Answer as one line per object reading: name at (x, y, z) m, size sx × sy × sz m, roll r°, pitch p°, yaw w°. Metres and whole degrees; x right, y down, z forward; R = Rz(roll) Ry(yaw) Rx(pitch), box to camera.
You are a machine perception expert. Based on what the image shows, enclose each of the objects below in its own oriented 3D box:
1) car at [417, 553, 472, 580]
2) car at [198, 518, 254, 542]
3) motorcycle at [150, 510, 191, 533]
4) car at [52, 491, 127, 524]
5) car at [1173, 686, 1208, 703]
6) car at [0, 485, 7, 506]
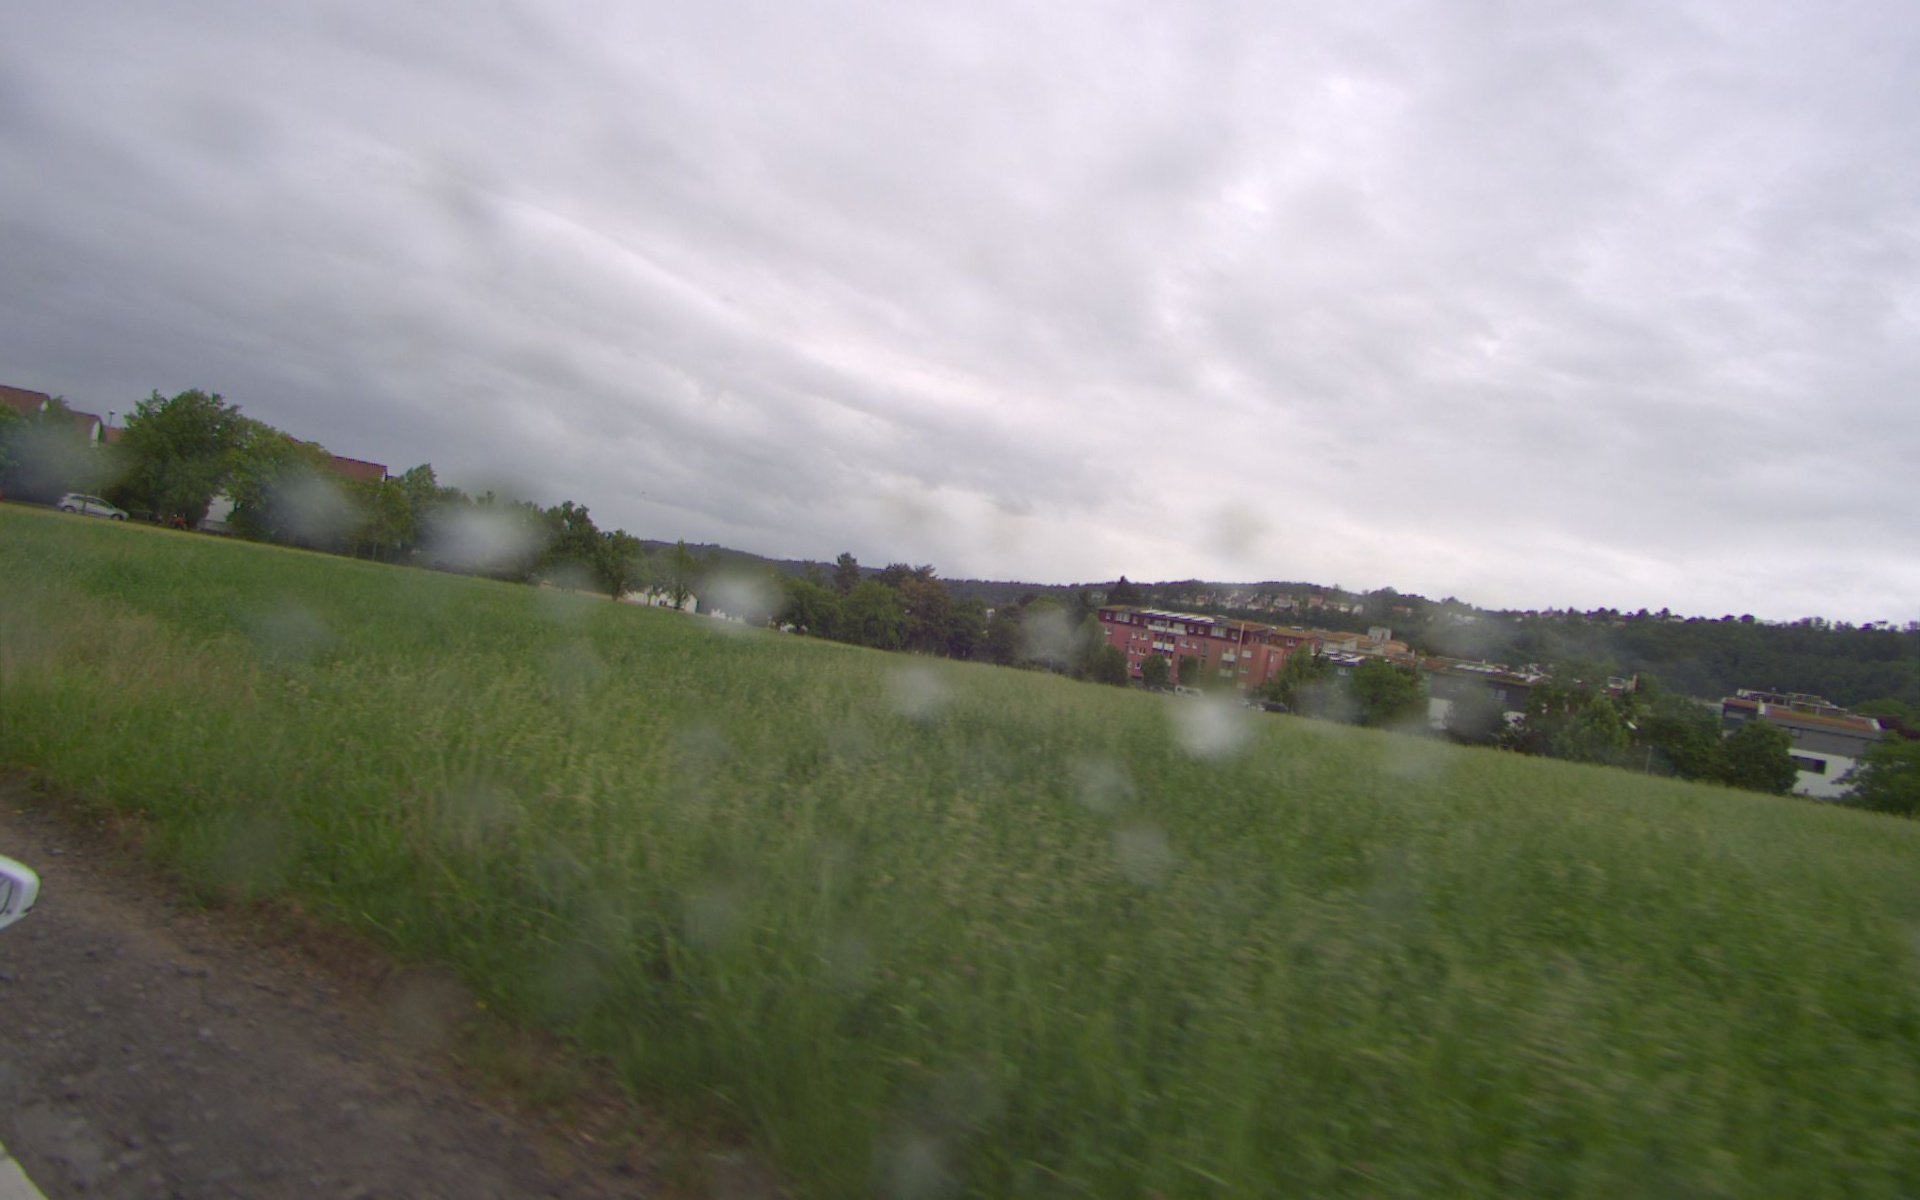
car at (-48.392, -3.131, 94.417) m, size 1.935 × 1.623 × 3.990 m, roll 7°, pitch -5°, yaw 41°
car at (-59.528, -5.646, 81.560) m, size 1.710 × 1.295 × 3.314 m, roll 7°, pitch -3°, yaw 43°
motorcycle at (-61.726, -6.129, 78.671) m, size 0.958 × 1.316 × 2.256 m, roll 8°, pitch -3°, yaw 43°
car at (-65.367, -6.935, 75.559) m, size 1.827 × 1.569 × 3.974 m, roll 7°, pitch -3°, yaw 44°
car at (38.415, 15.775, 167.631) m, size 1.989 × 2.037 × 5.216 m, roll 9°, pitch -2°, yaw -43°
car at (-69.657, -7.689, 71.209) m, size 2.993 × 1.452 × 1.536 m, roll 10°, pitch -3°, yaw -41°
